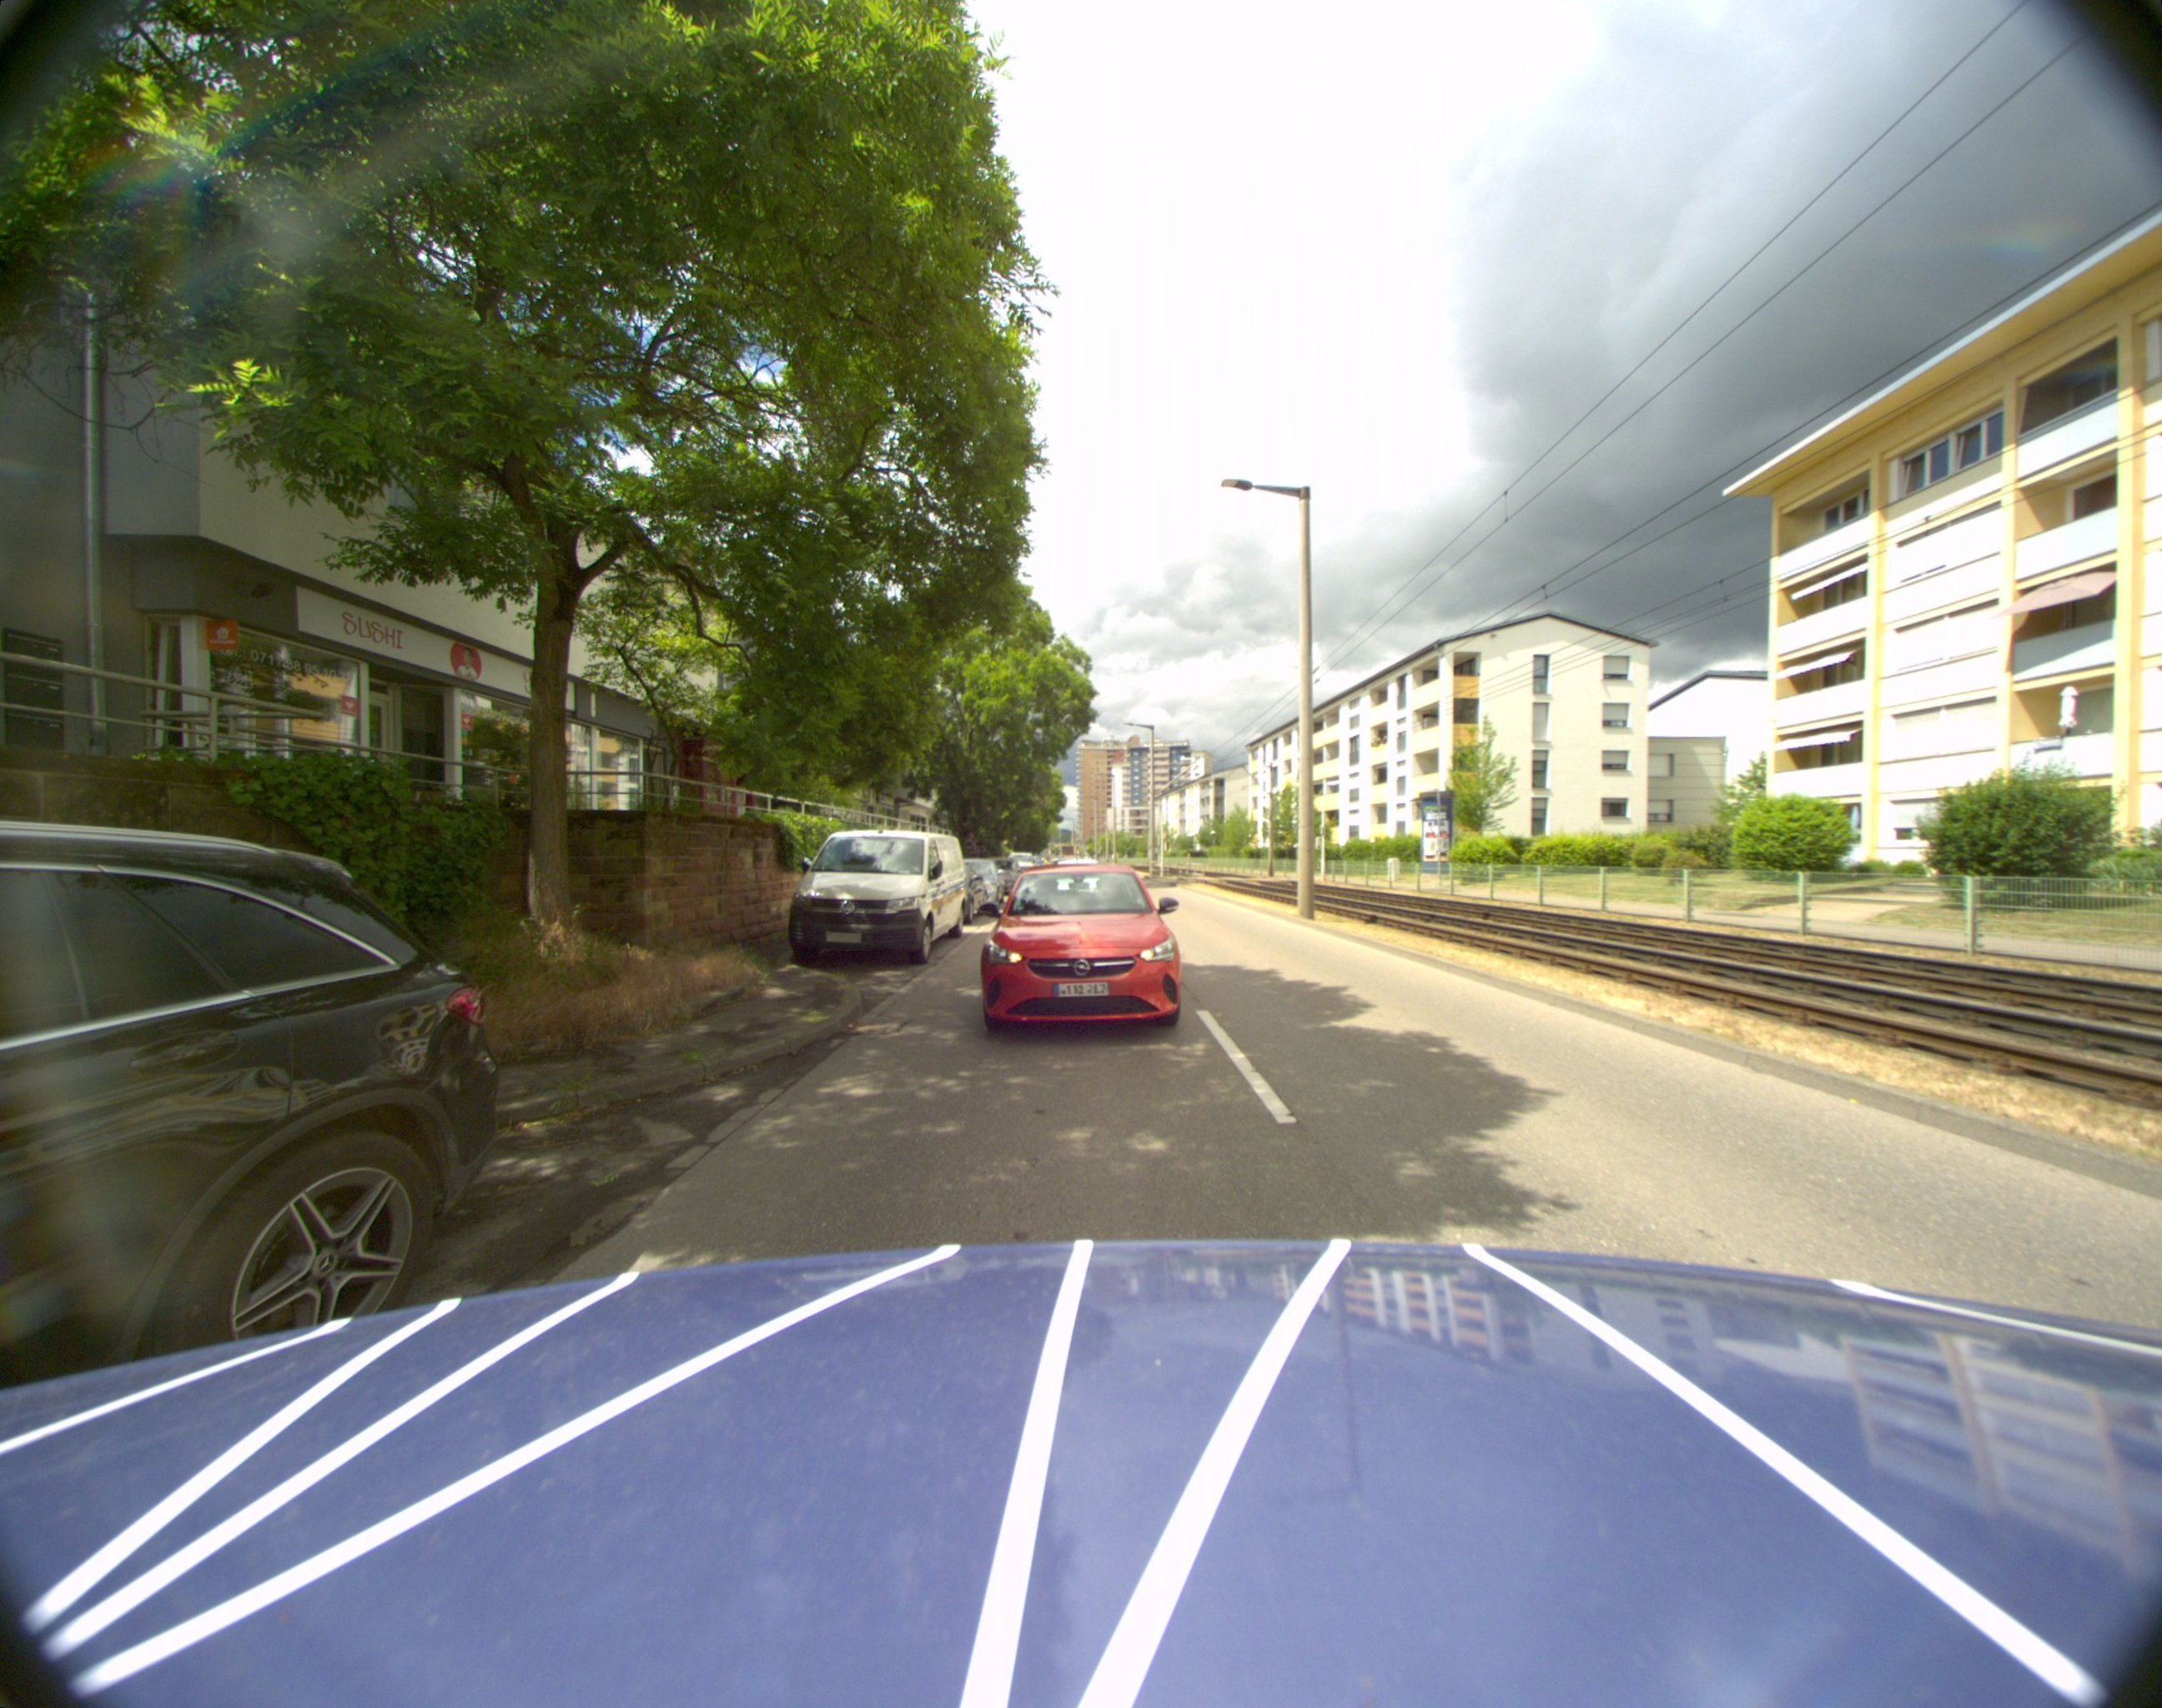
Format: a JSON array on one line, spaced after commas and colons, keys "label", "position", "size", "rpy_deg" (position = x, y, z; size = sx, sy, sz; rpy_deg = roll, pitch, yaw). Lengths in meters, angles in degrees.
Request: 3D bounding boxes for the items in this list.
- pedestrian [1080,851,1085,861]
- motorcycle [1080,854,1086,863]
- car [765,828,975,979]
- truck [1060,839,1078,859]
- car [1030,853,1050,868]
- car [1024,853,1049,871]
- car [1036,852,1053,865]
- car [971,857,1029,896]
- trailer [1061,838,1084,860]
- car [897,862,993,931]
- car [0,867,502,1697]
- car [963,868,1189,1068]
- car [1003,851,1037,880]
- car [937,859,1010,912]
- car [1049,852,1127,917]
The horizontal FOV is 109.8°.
[{"label": "pedestrian", "position": [0.221, 0.245, 109.721], "size": [0.737, 1.408, 0.927], "rpy_deg": [-2, 1, -1]}, {"label": "motorcycle", "position": [0.256, 0.639, 109.624], "size": [0.783, 1.181, 1.869], "rpy_deg": [-1, 1, -1]}, {"label": "car", "position": [-3.109, 0.639, 12.450], "size": [1.978, 1.958, 5.012], "rpy_deg": [-1, 0, 0]}, {"label": "truck", "position": [-2.231, -0.958, 139.938], "size": [2.853, 3.429, 4.413], "rpy_deg": [-2, 1, -5]}, {"label": "car", "position": [-4.276, 0.649, 79.683], "size": [1.784, 1.420, 4.147], "rpy_deg": [-1, 0, 0]}, {"label": "car", "position": [-3.625, 0.643, 62.488], "size": [1.784, 1.420, 4.147], "rpy_deg": [-1, 0, 0]}, {"label": "car", "position": [-4.139, 0.513, 86.715], "size": [1.784, 1.420, 4.147], "rpy_deg": [-1, 0, 0]}, {"label": "car", "position": [-3.158, 0.846, 30.341], "size": [1.784, 1.420, 4.147], "rpy_deg": [-1, 0, 0]}, {"label": "trailer", "position": [-1.594, -0.898, 131.897], "size": [2.876, 3.428, 14.608], "rpy_deg": [-2, 0, -5]}, {"label": "car", "position": [-3.121, 0.930, 18.143], "size": [1.578, 1.420, 3.734], "rpy_deg": [-1, 0, 0]}, {"label": "car", "position": [-3.065, 0.888, 0.608], "size": [1.794, 1.608, 4.447], "rpy_deg": [1, 0, 0]}, {"label": "car", "position": [0.001, 0.911, 7.820], "size": [1.723, 1.434, 4.000], "rpy_deg": [0, 0, 1]}, {"label": "car", "position": [-3.631, 0.656, 45.795], "size": [1.819, 1.644, 4.146], "rpy_deg": [-1, 0, -2]}, {"label": "car", "position": [-3.213, 0.901, 23.367], "size": [1.785, 1.420, 4.144], "rpy_deg": [-1, 0, -2]}, {"label": "car", "position": [0.138, 0.777, 21.445], "size": [1.927, 1.543, 3.999], "rpy_deg": [-2, 0, -1]}]
